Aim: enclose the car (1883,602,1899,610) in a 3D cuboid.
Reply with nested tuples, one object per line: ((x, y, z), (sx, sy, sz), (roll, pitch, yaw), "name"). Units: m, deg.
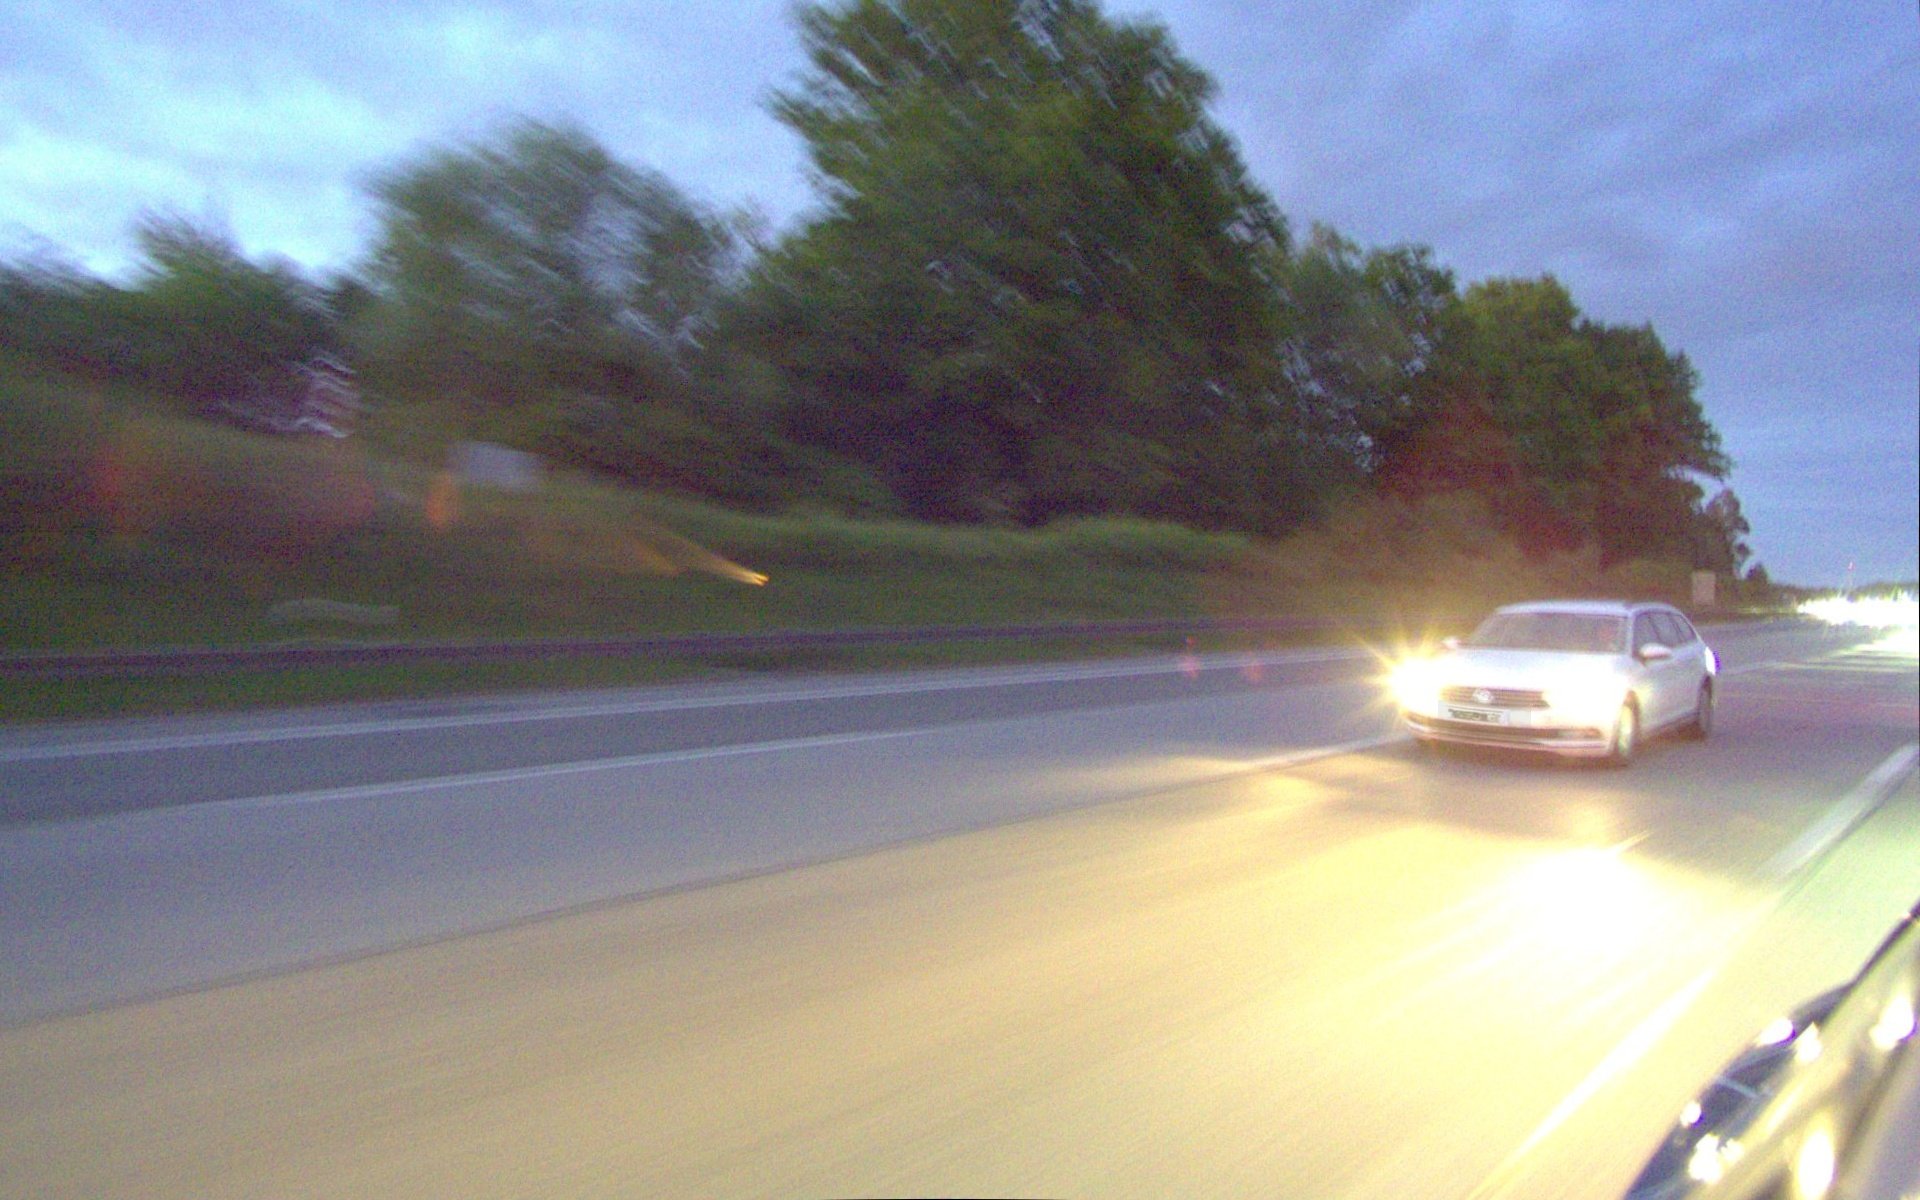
((155.576, 0.992, 169.158), (3.977, 1.398, 1.816), (0, 0, -45), "car")

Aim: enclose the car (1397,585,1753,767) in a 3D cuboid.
((6.630, 0.648, 10.617), (5.043, 1.485, 1.812), (1, 0, -42), "car")

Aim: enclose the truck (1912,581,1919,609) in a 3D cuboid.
((141.405, -0.641, 147.906), (3.138, 4.062, 10.374), (0, 0, 45), "truck")
